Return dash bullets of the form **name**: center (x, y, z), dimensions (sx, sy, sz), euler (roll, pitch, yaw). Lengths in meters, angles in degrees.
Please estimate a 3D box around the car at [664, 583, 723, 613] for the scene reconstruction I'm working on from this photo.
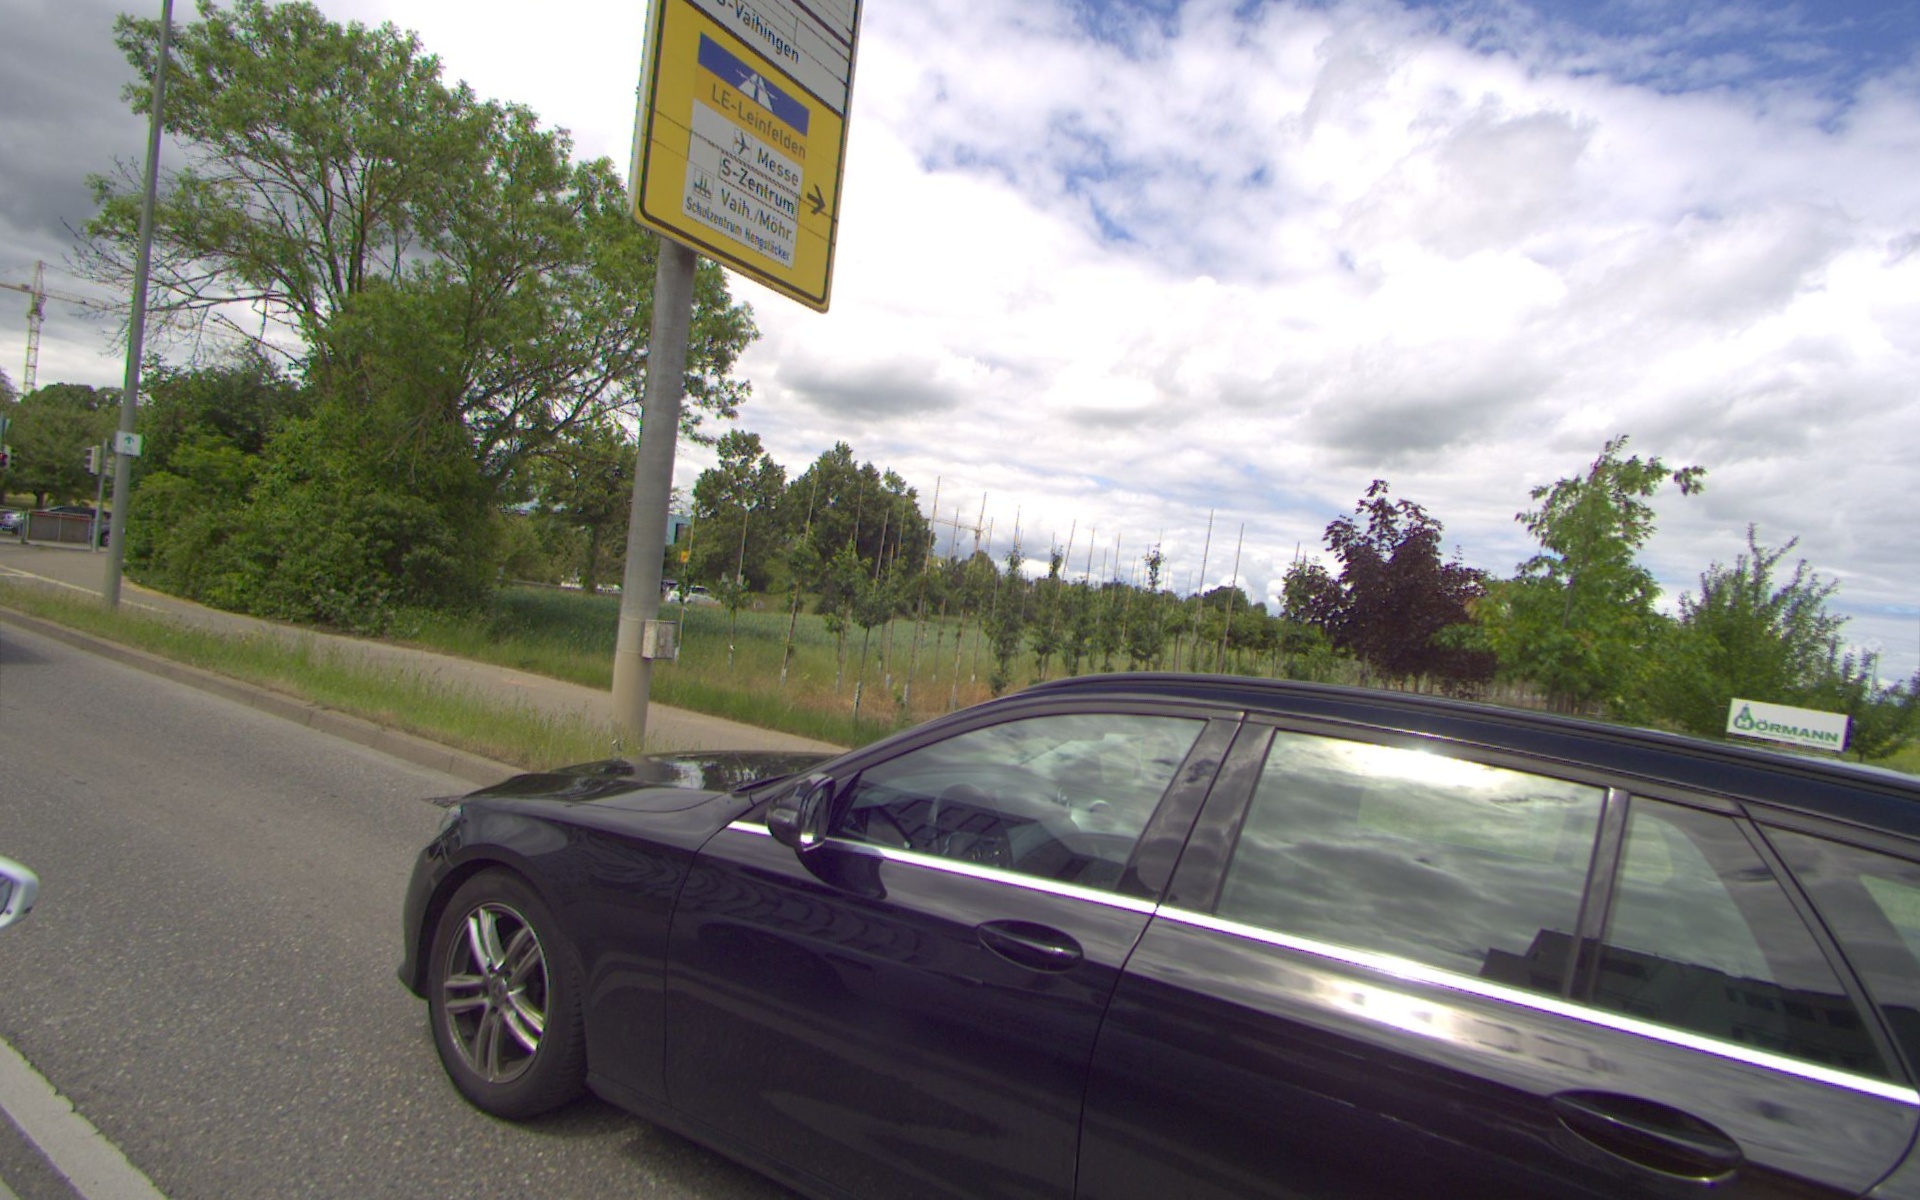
- **car**: center (-15.502, -0.087, 58.700), dimensions (1.657, 1.361, 3.392), euler (7, -1, 18)

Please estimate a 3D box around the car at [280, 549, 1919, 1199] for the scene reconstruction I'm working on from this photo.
- **car**: center (0.656, 0.896, 2.617), dimensions (5.111, 1.459, 1.875), euler (7, 0, 30)

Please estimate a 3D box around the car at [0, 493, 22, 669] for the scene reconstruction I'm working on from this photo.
- **car**: center (-10.682, -0.438, 9.333), dimensions (4.374, 1.537, 1.864), euler (7, 0, 34)

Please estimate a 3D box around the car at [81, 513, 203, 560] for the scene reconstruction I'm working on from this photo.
- **car**: center (-38.894, -3.002, 47.932), dimensions (1.967, 1.548, 3.993), euler (7, -1, 32)
